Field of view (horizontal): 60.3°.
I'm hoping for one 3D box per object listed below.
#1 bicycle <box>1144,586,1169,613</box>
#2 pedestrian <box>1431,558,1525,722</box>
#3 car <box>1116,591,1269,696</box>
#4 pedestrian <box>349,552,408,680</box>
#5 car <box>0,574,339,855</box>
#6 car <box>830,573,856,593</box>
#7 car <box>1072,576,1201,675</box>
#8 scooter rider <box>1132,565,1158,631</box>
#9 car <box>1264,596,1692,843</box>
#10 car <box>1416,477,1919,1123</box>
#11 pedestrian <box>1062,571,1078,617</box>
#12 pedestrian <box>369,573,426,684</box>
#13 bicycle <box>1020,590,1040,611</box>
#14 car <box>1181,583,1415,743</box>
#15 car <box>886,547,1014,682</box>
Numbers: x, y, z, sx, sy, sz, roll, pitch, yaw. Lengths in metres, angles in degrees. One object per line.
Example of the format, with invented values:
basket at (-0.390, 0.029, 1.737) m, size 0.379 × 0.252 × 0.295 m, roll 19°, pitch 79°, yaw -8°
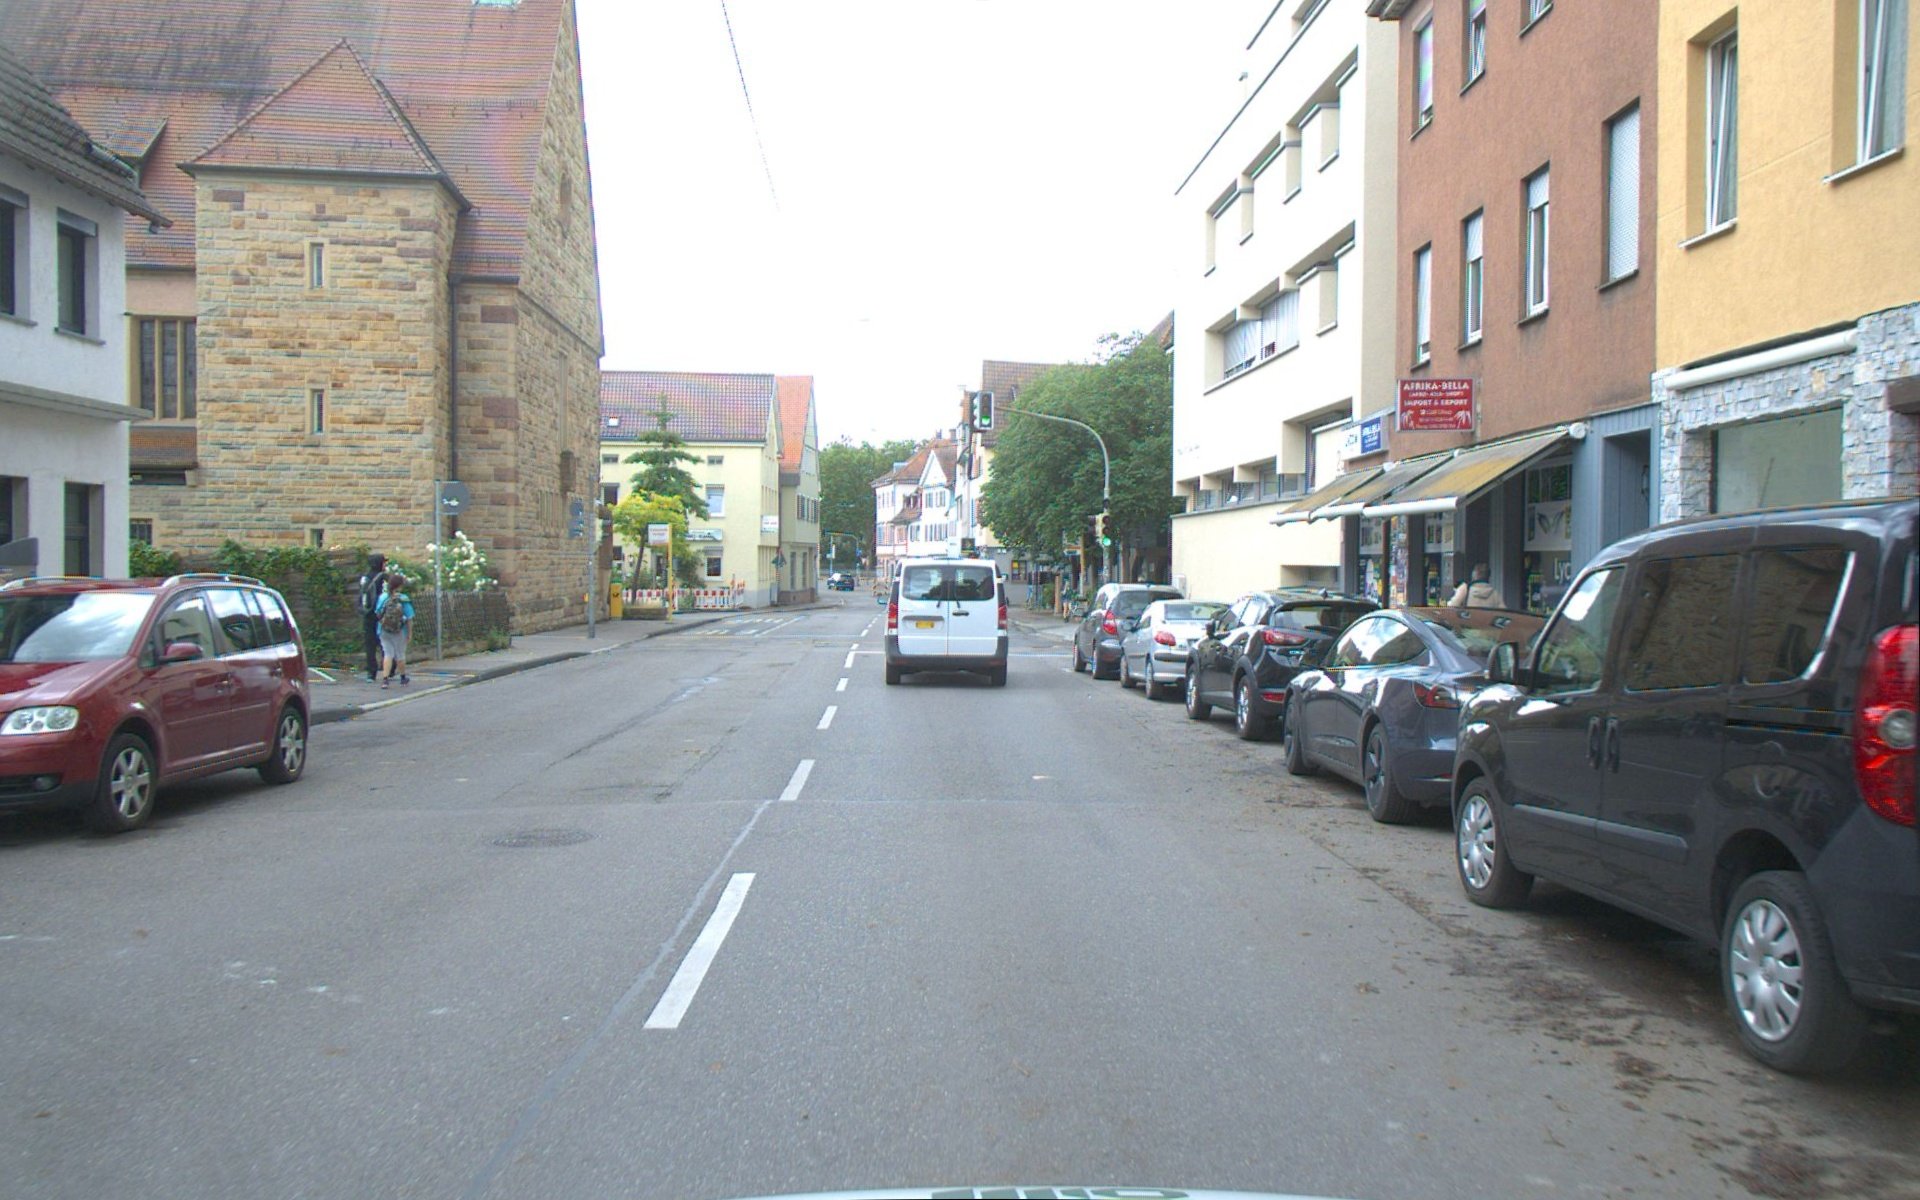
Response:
bicycle at (8.197, -0.039, 68.984) m, size 0.534 × 1.088 × 2.288 m, roll 0°, pitch 1°, yaw -6°
pedestrian at (5.462, 0.398, 17.471) m, size 0.687 × 1.678 × 0.888 m, roll -1°, pitch 1°, yaw -2°
car at (3.307, 0.578, 24.122) m, size 1.520 × 1.356 × 3.811 m, roll 1°, pitch 1°, yaw -3°
pedestrian at (-8.840, 0.236, 25.144) m, size 0.559 × 1.880 × 0.697 m, roll 3°, pitch 1°, yaw -1°
car at (-6.107, 0.654, 11.930) m, size 1.668 × 1.601 × 4.449 m, roll -2°, pitch 1°, yaw -2°
car at (-12.224, -1.776, 172.800) m, size 1.904 × 2.049 × 3.982 m, roll 1°, pitch 1°, yaw -17°
car at (3.001, 0.395, 28.760) m, size 1.677 × 1.587 × 3.784 m, roll 1°, pitch 1°, yaw -3°
scooter rider at (4.727, -0.036, 42.291) m, size 0.445 × 1.660 × 0.503 m, roll -2°, pitch -1°, yaw -16°
car at (3.553, 0.717, 12.267) m, size 1.715 × 1.430 × 4.511 m, roll 0°, pitch 1°, yaw -1°
car at (3.482, 0.545, 6.804) m, size 1.783 × 1.812 × 4.401 m, roll 1°, pitch 1°, yaw -3°
pedestrian at (4.308, -0.239, 64.701) m, size 0.589 × 1.745 × 0.860 m, roll 1°, pitch 1°, yaw 5°
pedestrian at (-8.240, 0.409, 24.265) m, size 0.559 × 1.581 × 0.697 m, roll 2°, pitch 1°, yaw -1°
bicycle at (3.802, 0.024, 90.220) m, size 0.492 × 1.126 × 1.627 m, roll 0°, pitch 1°, yaw -22°
car at (3.595, 0.590, 18.324) m, size 1.570 × 1.545 × 4.207 m, roll 0°, pitch 1°, yaw -3°
car at (-0.166, 0.197, 26.040) m, size 1.834 × 1.945 × 3.999 m, roll 1°, pitch 0°, yaw -1°
